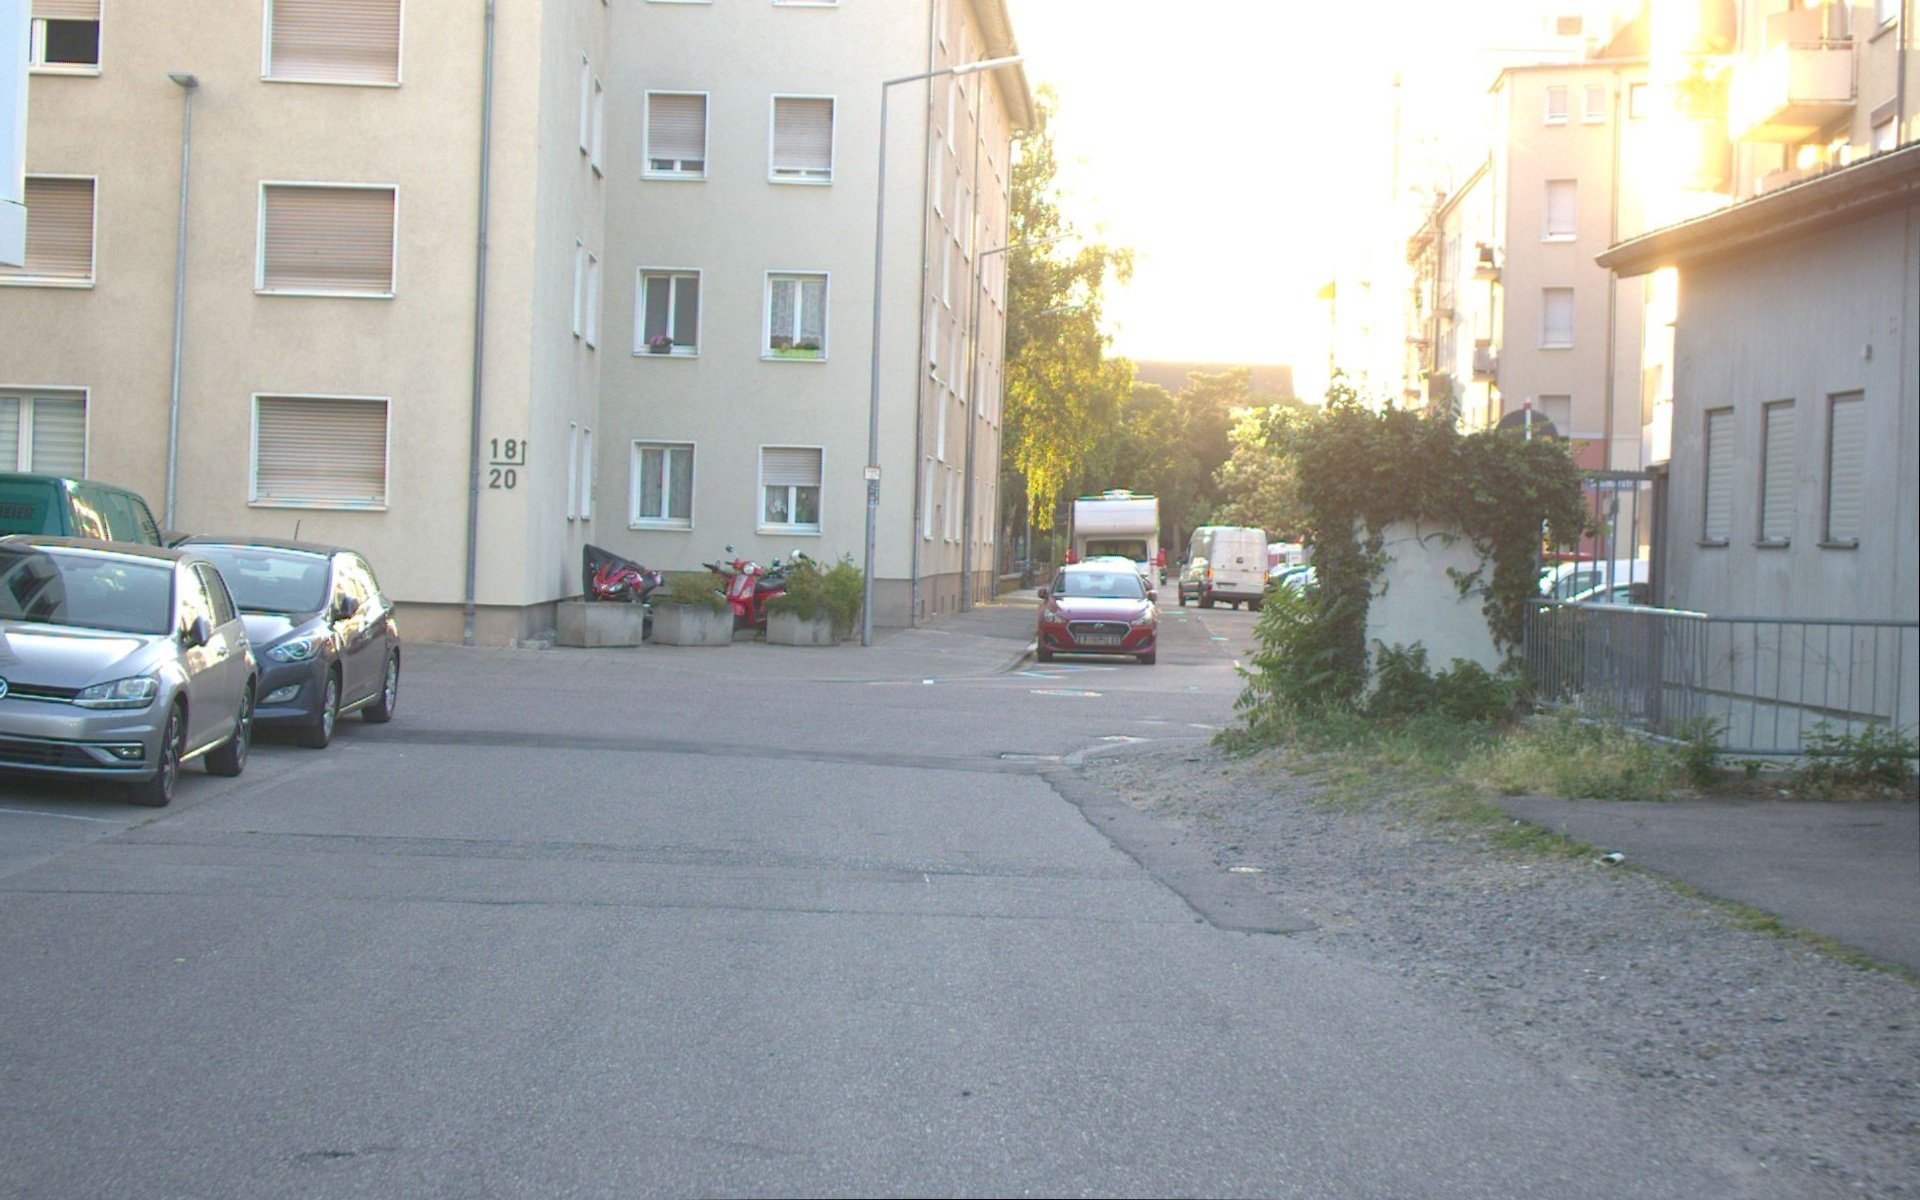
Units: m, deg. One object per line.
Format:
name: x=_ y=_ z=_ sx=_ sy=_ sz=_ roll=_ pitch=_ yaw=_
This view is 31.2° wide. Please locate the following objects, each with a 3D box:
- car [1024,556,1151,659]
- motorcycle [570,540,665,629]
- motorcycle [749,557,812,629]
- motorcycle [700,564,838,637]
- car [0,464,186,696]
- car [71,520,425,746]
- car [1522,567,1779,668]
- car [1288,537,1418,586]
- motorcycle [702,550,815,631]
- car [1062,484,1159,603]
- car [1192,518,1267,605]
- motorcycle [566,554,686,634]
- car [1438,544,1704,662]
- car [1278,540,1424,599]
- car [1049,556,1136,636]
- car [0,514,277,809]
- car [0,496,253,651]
car: x=1.948 y=0.082 z=53.057 sx=1.845 sy=1.468 sz=4.078 roll=2 pitch=1 yaw=1
motorcycle: x=-5.056 y=-0.233 z=50.916 sx=0.724 sy=1.260 sz=2.080 roll=2 pitch=1 yaw=13
motorcycle: x=-2.778 y=-0.116 z=53.381 sx=0.682 sy=1.075 sz=2.034 roll=2 pitch=1 yaw=4
motorcycle: x=-3.091 y=0.007 z=55.599 sx=2.125 sy=1.101 sz=0.560 roll=2 pitch=1 yaw=15
car: x=-8.571 y=-0.261 z=31.745 sx=1.797 sy=1.973 sz=4.690 roll=2 pitch=2 yaw=-1
car: x=-5.463 y=0.195 z=26.909 sx=1.779 sy=1.474 sz=4.331 roll=5 pitch=1 yaw=0
car: x=11.274 y=0.272 z=56.290 sx=3.873 sy=1.487 sz=1.741 roll=2 pitch=1 yaw=3
car: x=12.463 y=-1.224 z=109.104 sx=3.987 sy=1.525 sz=1.659 roll=1 pitch=1 yaw=3
motorcycle: x=-2.978 y=-0.133 z=50.953 sx=0.689 sy=1.156 sz=2.031 roll=2 pitch=1 yaw=27
car: x=4.353 y=-1.623 z=98.254 sx=2.620 sy=3.258 sz=7.696 roll=0 pitch=1 yaw=3
car: x=8.573 y=-1.244 z=109.737 sx=2.128 sy=2.708 sz=4.833 roll=0 pitch=1 yaw=1
motorcycle: x=-4.711 y=-0.085 z=48.623 sx=0.724 sy=1.075 sz=2.078 roll=2 pitch=1 yaw=24
car: x=10.477 y=0.042 z=59.150 sx=4.280 sy=1.854 sz=1.741 roll=2 pitch=0 yaw=3
car: x=13.270 y=-1.055 z=116.945 sx=4.813 sy=1.961 sz=1.739 roll=1 pitch=1 yaw=3
car: x=2.518 y=-0.098 z=65.879 sx=1.616 sy=1.468 sz=3.505 roll=0 pitch=1 yaw=1
car: x=-5.381 y=0.286 z=20.905 sx=1.710 sy=1.474 sz=4.185 roll=5 pitch=1 yaw=-3
car: x=-10.660 y=-0.350 z=41.193 sx=4.006 sy=1.612 sz=1.881 roll=2 pitch=5 yaw=-2
